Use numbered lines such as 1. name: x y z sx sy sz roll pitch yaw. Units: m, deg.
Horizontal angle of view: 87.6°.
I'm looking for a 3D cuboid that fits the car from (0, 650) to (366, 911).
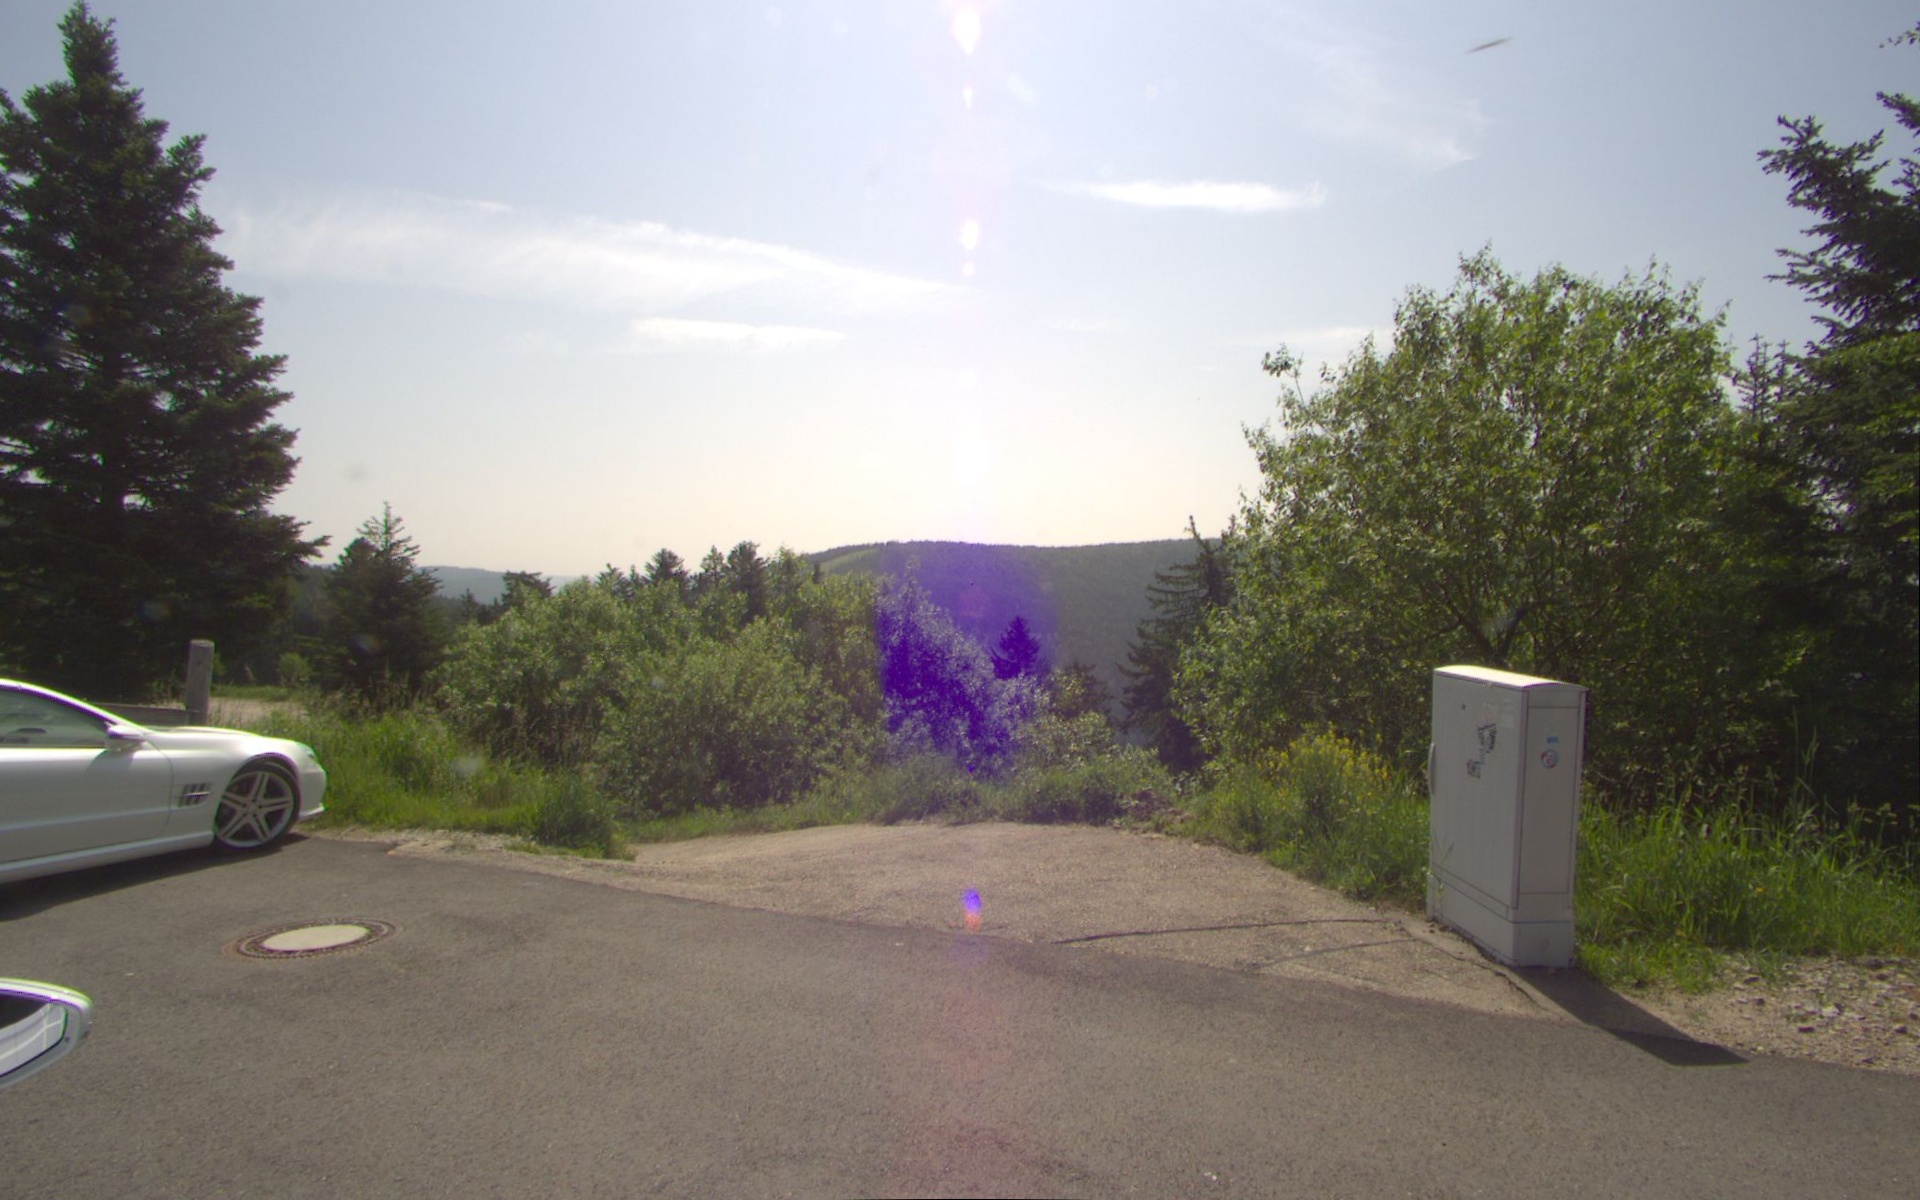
1. car: -5.815 0.972 5.778 1.722 1.312 4.415 1 -3 7
